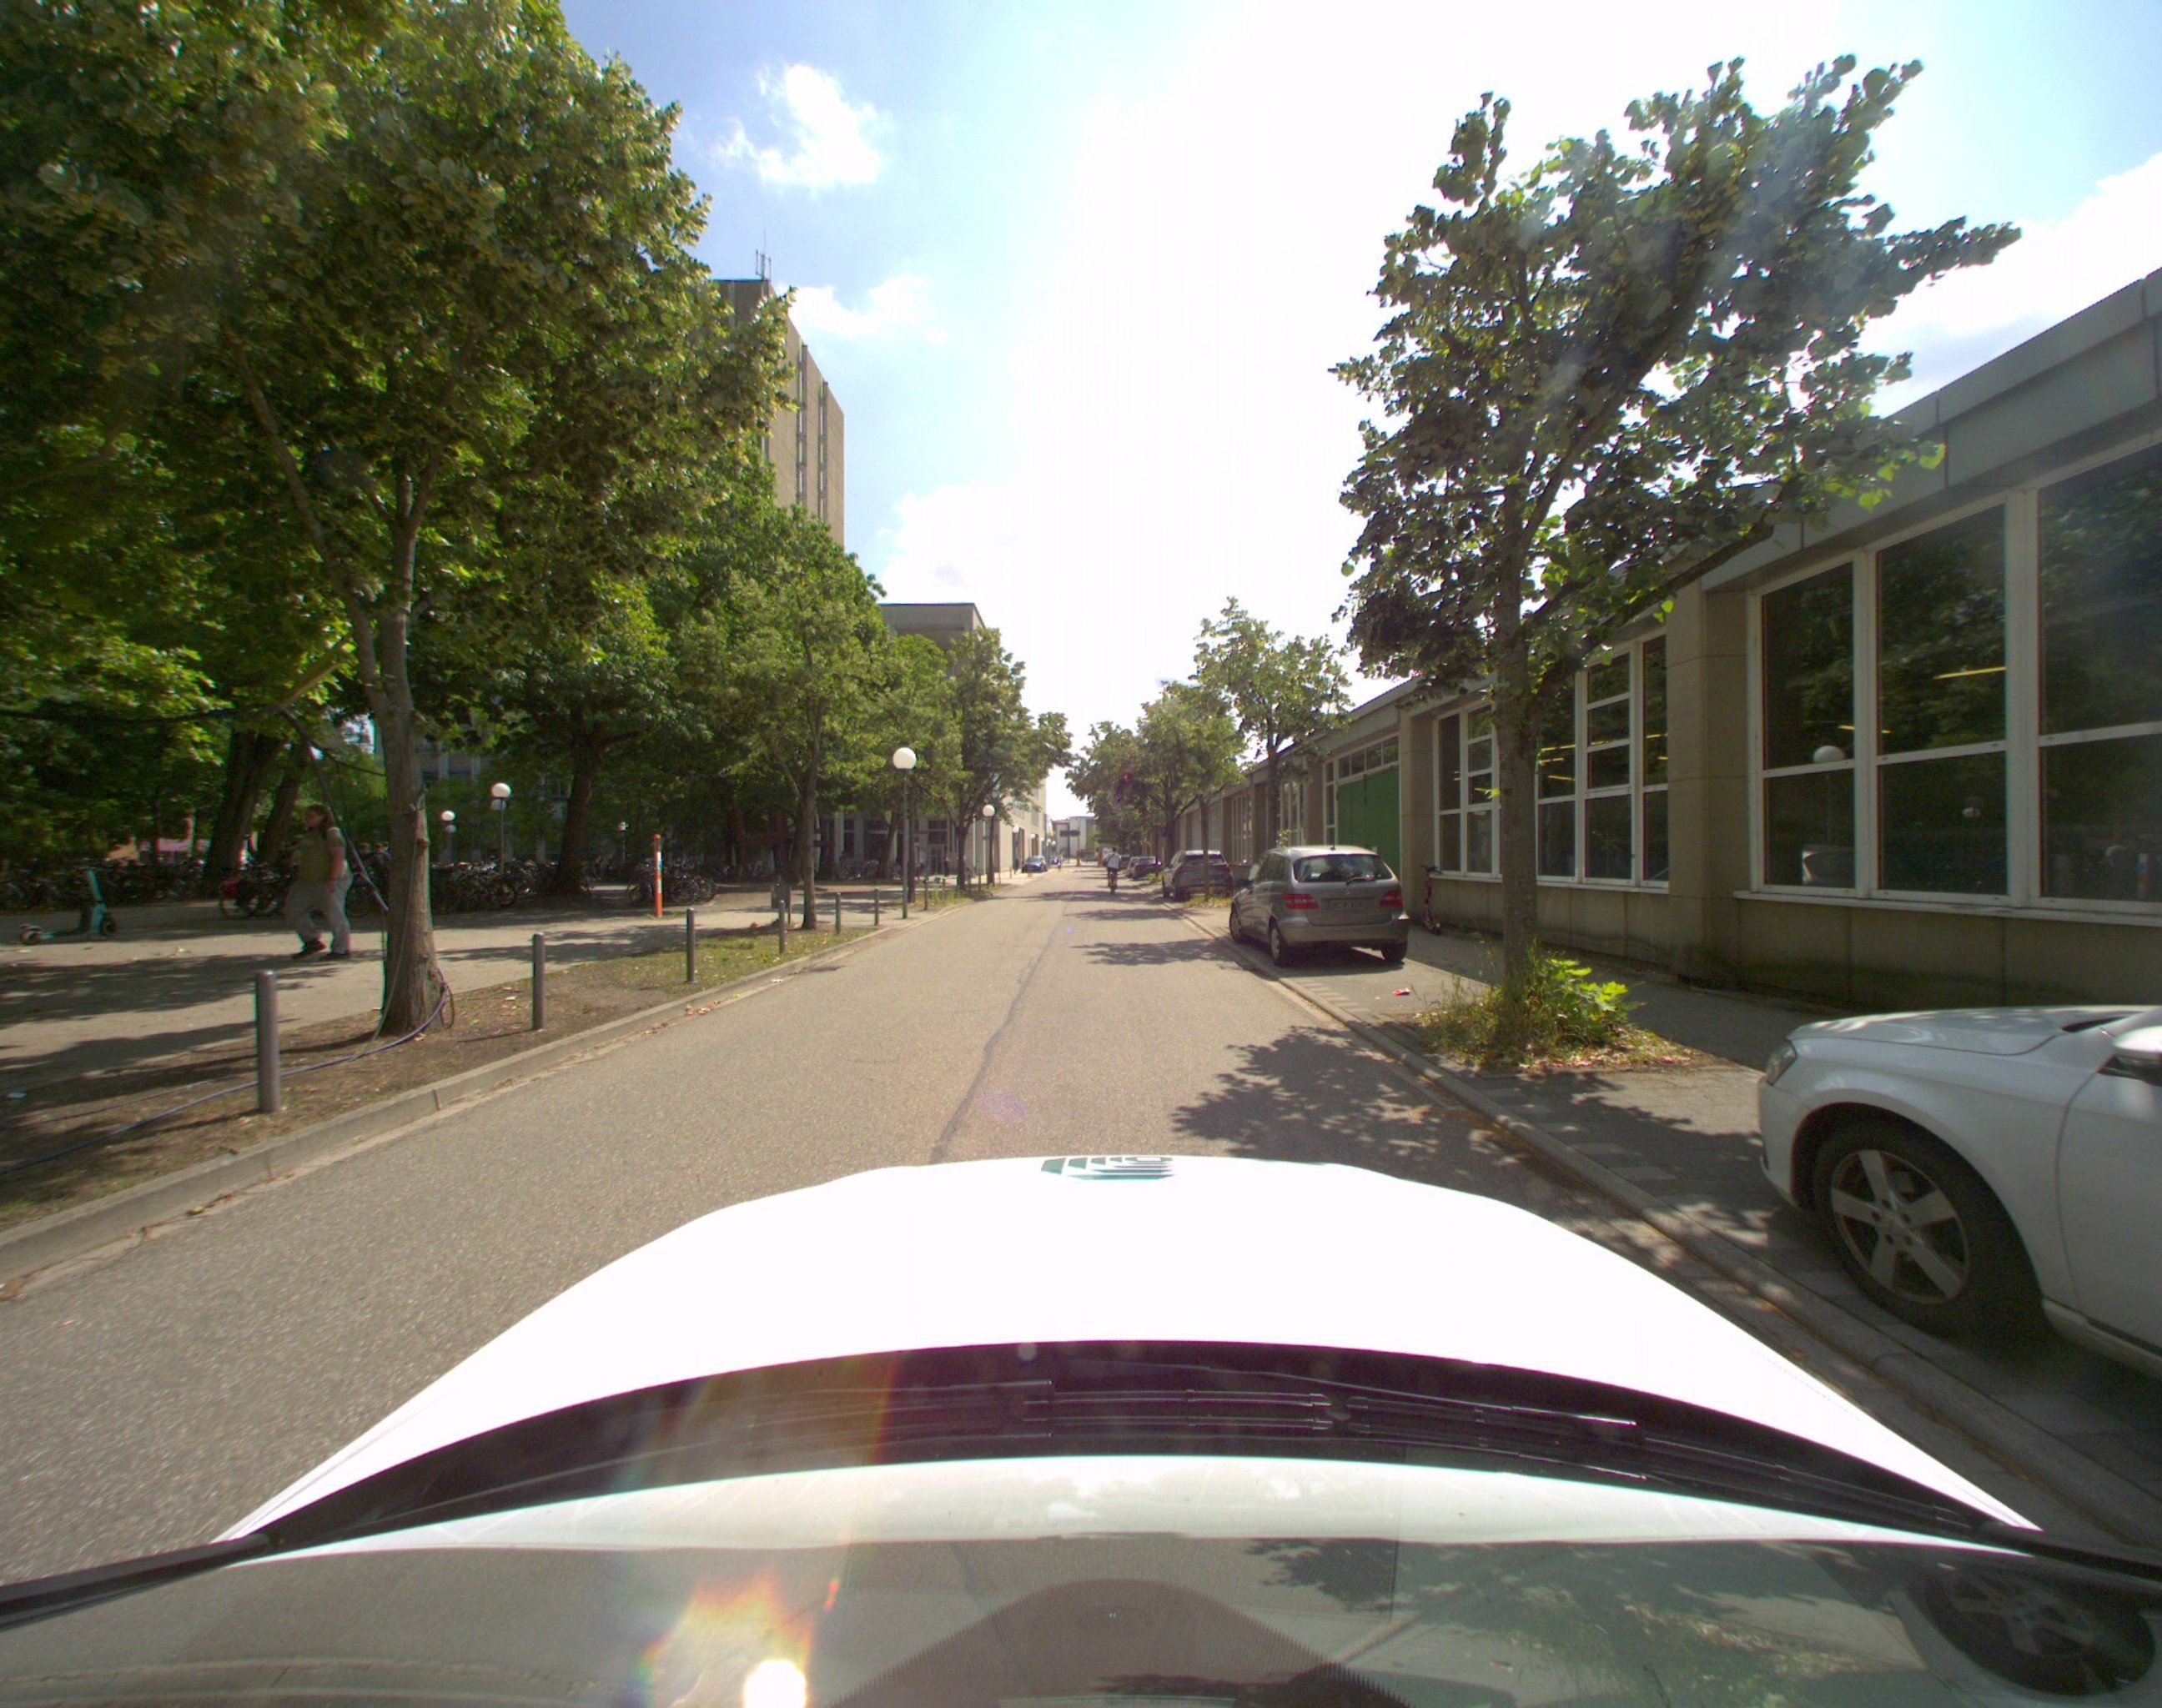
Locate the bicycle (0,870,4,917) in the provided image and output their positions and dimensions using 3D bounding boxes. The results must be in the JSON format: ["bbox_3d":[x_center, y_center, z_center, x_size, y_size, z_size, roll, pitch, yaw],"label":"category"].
[{"bbox_3d":[-22.173,0.766,15.618,1.880,0.942,0.544,0,-2,-13],"label":"bicycle"}]

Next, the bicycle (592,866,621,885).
[{"bbox_3d":[-28.166,1.278,48.377,0.550,1.086,1.973,1,0,1],"label":"bicycle"}]

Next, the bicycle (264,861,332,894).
[{"bbox_3d":[-28.885,0.871,30.075,1.795,1.207,0.422,1,0,-17],"label":"bicycle"}]

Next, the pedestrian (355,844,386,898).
[{"bbox_3d":[-22.622,0.526,25.930,0.634,1.670,0.722,1,0,-35],"label":"pedestrian"}]

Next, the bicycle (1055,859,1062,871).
[{"bbox_3d":[-2.214,1.090,81.789,0.683,1.130,1.887,-1,0,-1],"label":"bicycle"}]

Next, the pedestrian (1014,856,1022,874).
[{"bbox_3d":[-6.012,1.043,77.368,0.650,1.701,0.886,0,-1,-10],"label":"pedestrian"}]

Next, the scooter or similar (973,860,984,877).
[{"bbox_3d":[-7.384,1.014,58.513,0.452,1.223,1.551,0,0,4],"label":"scooter or similar"}]

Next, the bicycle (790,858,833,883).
[{"bbox_3d":[-14.234,0.838,43.019,2.028,1.254,0.581,-1,0,-32],"label":"bicycle"}]

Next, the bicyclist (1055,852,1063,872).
[{"bbox_3d":[-2.229,0.791,81.663,0.709,2.013,1.018,-2,0,-2],"label":"bicyclist"}]

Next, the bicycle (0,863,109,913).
[{"bbox_3d":[-23.551,0.757,18.400,1.959,1.091,0.593,1,-2,-22],"label":"bicycle"}]

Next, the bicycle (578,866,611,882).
[{"bbox_3d":[-27.724,1.113,46.456,0.548,0.871,2.646,0,0,-6],"label":"bicycle"}]

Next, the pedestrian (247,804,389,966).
[{"bbox_3d":[-9.758,0.377,10.450,0.912,1.955,0.894,2,-1,10],"label":"pedestrian"}]

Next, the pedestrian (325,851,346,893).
[{"bbox_3d":[-29.352,0.709,32.067,0.347,1.614,0.464,0,-1,22],"label":"pedestrian"}]

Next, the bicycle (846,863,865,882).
[{"bbox_3d":[-13.485,1.069,48.700,0.550,1.086,1.973,1,0,1],"label":"bicycle"}]

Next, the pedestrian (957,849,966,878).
[{"bbox_3d":[-8.229,0.657,56.193,0.415,1.942,0.657,1,-1,-28],"label":"pedestrian"}]

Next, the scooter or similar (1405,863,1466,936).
[{"bbox_3d":[6.323,0.780,14.590,0.414,1.217,1.493,-2,0,1],"label":"scooter or similar"}]

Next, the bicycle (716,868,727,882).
[{"bbox_3d":[-20.162,1.160,45.720,0.324,0.763,1.544,1,0,-33],"label":"bicycle"}]

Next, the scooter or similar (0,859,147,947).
[{"bbox_3d":[-15.117,0.709,12.231,0.696,1.246,1.242,0,0,1],"label":"scooter or similar"}]

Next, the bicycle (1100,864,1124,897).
[{"bbox_3d":[1.198,1.010,32.032,0.879,1.200,2.750,0,0,1],"label":"bicycle"}]

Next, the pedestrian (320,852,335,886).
[{"bbox_3d":[-38.293,0.778,41.388,0.414,1.714,0.539,1,-1,-30],"label":"pedestrian"}]

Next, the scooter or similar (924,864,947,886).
[{"bbox_3d":[-7.632,1.096,42.796,0.335,1.176,1.337,0,-1,36],"label":"scooter or similar"}]

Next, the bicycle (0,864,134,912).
[{"bbox_3d":[-23.890,0.791,19.183,1.959,1.091,0.593,1,-2,-22],"label":"bicycle"}]

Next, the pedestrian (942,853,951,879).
[{"bbox_3d":[-9.392,0.834,56.840,0.444,1.775,0.447,0,0,-30],"label":"pedestrian"}]

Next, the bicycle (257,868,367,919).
[{"bbox_3d":[-15.879,0.814,16.830,1.795,1.014,0.538,0,0,2],"label":"bicycle"}]

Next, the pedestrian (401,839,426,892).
[{"bbox_3d":[-24.951,0.417,30.443,0.650,1.934,0.689,1,0,-35],"label":"pedestrian"}]

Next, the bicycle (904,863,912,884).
[{"bbox_3d":[-8.975,0.992,42.267,0.382,1.025,1.808,0,0,-11],"label":"bicycle"}]

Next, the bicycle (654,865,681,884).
[{"bbox_3d":[-24.424,1.214,48.171,0.550,1.086,1.973,1,0,1],"label":"bicycle"}]

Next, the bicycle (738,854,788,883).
[{"bbox_3d":[-16.286,0.729,41.733,2.299,1.450,0.601,0,-1,-33],"label":"bicycle"}]

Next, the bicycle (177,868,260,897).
[{"bbox_3d":[-27.011,0.894,25.529,1.767,0.894,0.416,1,0,-20],"label":"bicycle"}]

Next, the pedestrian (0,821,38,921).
[{"bbox_3d":[-20.389,0.315,15.290,0.527,1.848,0.806,0,0,1],"label":"pedestrian"}]

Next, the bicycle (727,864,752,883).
[{"bbox_3d":[-20.378,1.170,48.625,0.550,1.086,1.973,1,0,1],"label":"bicycle"}]

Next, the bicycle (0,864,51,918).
[{"bbox_3d":[-22.643,0.746,16.679,1.953,1.091,0.594,0,-2,-13],"label":"bicycle"}]

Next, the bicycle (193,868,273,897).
[{"bbox_3d":[-27.485,0.919,26.412,1.767,0.894,0.416,1,0,-20],"label":"bicycle"}]

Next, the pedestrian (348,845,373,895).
[{"bbox_3d":[-24.595,0.544,27.807,0.558,1.670,0.696,1,0,-35],"label":"pedestrian"}]

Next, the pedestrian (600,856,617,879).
[{"bbox_3d":[-32.952,0.927,56.799,0.824,1.593,0.598,0,-1,2],"label":"pedestrian"}]

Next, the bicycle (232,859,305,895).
[{"bbox_3d":[-28.204,0.788,28.278,1.795,1.207,0.422,1,0,-17],"label":"bicycle"}]

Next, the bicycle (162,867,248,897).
[{"bbox_3d":[-26.534,0.848,24.684,1.767,0.894,0.416,1,0,-20],"label":"bicycle"}]

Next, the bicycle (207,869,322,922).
[{"bbox_3d":[-16.317,0.827,16.282,1.795,1.014,0.538,0,0,3],"label":"bicycle"}]

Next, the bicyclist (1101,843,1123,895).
[{"bbox_3d":[1.208,0.591,32.121,0.870,2.014,0.850,0,-1,1],"label":"bicyclist"}]

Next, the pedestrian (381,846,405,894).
[{"bbox_3d":[-23.960,0.549,28.371,0.558,1.670,0.686,1,0,-35],"label":"pedestrian"}]

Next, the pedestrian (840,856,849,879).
[{"bbox_3d":[-17.124,0.965,58.902,0.634,1.661,0.690,0,0,-17],"label":"pedestrian"}]

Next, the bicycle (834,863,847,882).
[{"bbox_3d":[-13.013,0.992,44.098,0.475,0.965,1.650,0,0,-10],"label":"bicycle"}]

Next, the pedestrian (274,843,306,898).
[{"bbox_3d":[-24.233,0.493,24.946,0.580,1.670,0.624,1,0,-35],"label":"pedestrian"}]

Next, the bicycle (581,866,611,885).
[{"bbox_3d":[-28.836,1.292,48.494,0.550,1.086,1.973,1,0,1],"label":"bicycle"}]

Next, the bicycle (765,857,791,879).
[{"bbox_3d":[-17.903,0.794,48.166,0.523,1.253,2.383,-1,0,2],"label":"bicycle"}]

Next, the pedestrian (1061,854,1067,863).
[{"bbox_3d":[-3.931,1.105,185.981,1.413,2.107,0.994,0,0,-3],"label":"pedestrian"}]

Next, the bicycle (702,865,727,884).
[{"bbox_3d":[-21.859,1.192,48.639,0.550,1.086,1.973,1,0,1],"label":"bicycle"}]

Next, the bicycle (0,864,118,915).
[{"bbox_3d":[-22.689,0.763,17.819,1.967,1.091,0.590,1,-2,-38],"label":"bicycle"}]

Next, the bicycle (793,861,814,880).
[{"bbox_3d":[-15.682,0.936,46.073,0.474,1.032,1.850,0,0,1],"label":"bicycle"}]
